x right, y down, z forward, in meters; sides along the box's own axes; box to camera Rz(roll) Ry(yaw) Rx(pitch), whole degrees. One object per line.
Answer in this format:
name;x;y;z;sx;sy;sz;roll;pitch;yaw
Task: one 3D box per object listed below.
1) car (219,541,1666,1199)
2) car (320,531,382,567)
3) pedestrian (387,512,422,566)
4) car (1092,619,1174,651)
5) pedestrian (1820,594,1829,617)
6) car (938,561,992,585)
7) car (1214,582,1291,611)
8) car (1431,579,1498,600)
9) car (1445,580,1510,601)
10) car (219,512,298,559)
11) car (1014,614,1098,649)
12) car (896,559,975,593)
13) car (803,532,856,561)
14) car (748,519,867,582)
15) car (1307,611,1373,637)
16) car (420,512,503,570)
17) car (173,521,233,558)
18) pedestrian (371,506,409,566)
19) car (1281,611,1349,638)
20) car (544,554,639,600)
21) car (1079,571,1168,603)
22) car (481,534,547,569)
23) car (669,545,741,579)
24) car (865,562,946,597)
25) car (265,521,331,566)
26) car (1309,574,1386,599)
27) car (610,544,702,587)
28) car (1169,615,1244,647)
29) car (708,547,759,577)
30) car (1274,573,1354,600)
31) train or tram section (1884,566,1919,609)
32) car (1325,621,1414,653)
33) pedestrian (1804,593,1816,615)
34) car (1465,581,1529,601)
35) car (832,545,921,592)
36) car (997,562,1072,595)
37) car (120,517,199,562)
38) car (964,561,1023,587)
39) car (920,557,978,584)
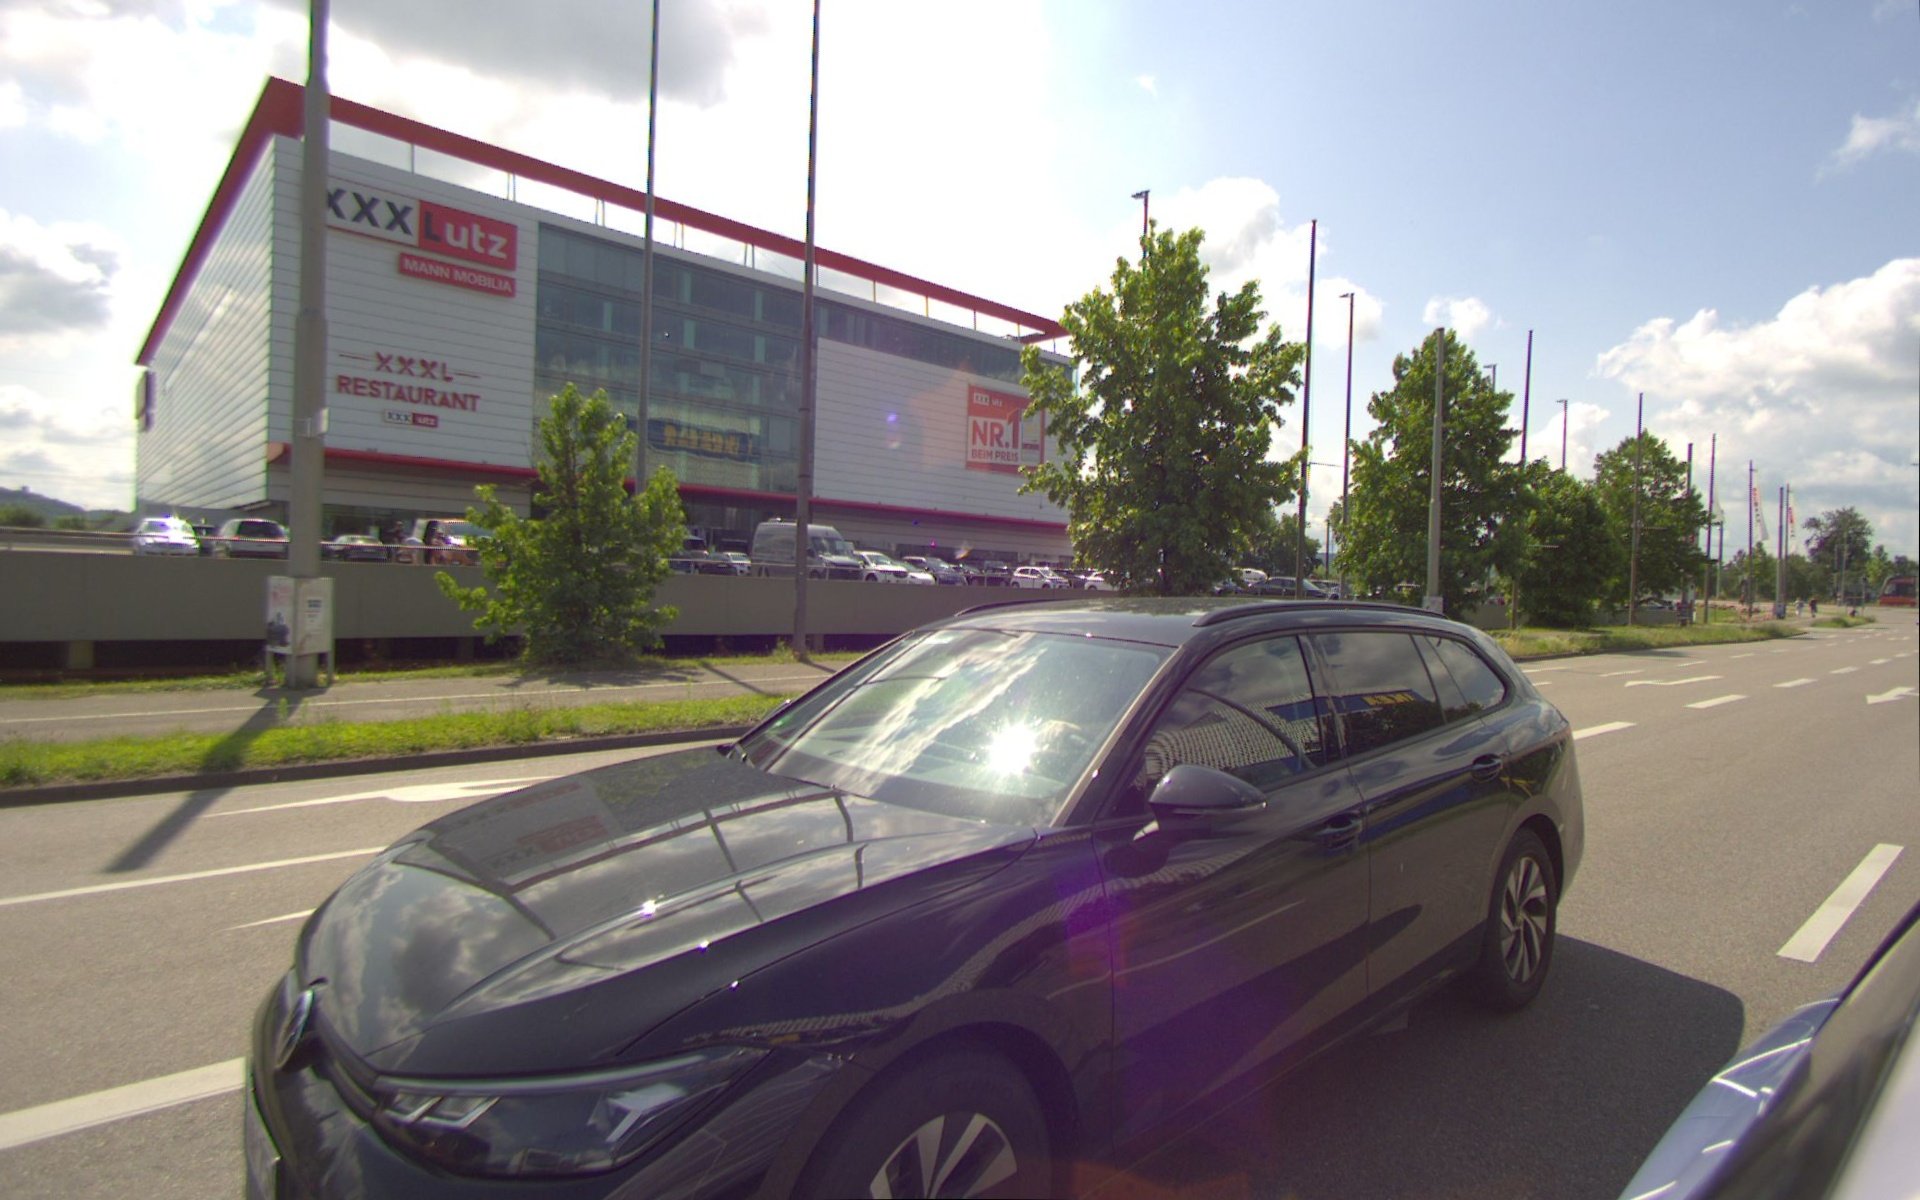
car;0.662;0.666;3.532;5.114;1.496;1.811;0;1;-42
car;-27.942;-2.304;46.372;1.534;1.489;4.412;0;1;-44
pedestrian;-18.924;-2.070;34.483;1.014;1.764;0.698;0;0;36
car;9.950;1.975;58.503;1.922;1.625;4.414;0;1;-43
pedestrian;69.864;0.415;81.786;0.524;1.836;0.668;0;0;39
car;0.334;-1.932;73.382;1.916;1.625;4.428;0;1;-30
car;16.836;-0.232;58.389;1.746;1.624;3.996;-1;0;-39
car;40.364;-0.826;80.969;1.921;1.625;4.416;0;1;-41
car;42.679;-0.793;83.502;1.921;1.625;4.416;0;1;-41
car;-27.883;-2.505;40.146;1.922;1.625;4.412;0;1;-44
car;4.997;1.617;53.306;1.919;1.625;4.420;0;1;-38
car;-1.285;-1.181;50.572;1.917;1.625;4.425;0;1;-33
car;-8.173;-3.314;63.245;1.915;1.625;4.430;0;1;-27
car;-6.208;-1.913;40.620;1.721;2.312;5.784;0;0;-44
car;28.338;1.754;75.655;1.534;1.786;4.412;0;0;-44
car;-17.163;-1.959;34.757;1.881;1.772;4.187;0;0;-36
car;-38.143;-2.999;50.978;1.922;1.625;4.412;0;1;-44
pedestrian;-19.696;-2.198;34.968;0.895;2.039;0.706;0;0;4
car;25.580;1.753;72.971;1.534;1.786;4.412;0;0;-44
car;-14.043;-0.861;38.387;1.921;1.625;4.416;0;1;-41
car;8.482;-0.680;52.811;1.921;1.625;4.416;0;1;-41
car;-22.452;-2.395;50.882;1.920;1.625;4.418;0;1;-40
car;-13.235;-1.928;52.318;1.920;1.625;4.418;0;1;-40
car;-2.635;-0.965;48.383;1.917;1.625;4.425;0;1;-33
car;-29.094;-2.450;44.454;1.883;1.772;3.993;-1;0;-41
car;25.686;-0.916;67.121;1.921;1.625;4.416;0;1;-41
car;-12.151;-1.334;40.279;1.920;1.625;4.418;0;1;-40
car;15.352;1.905;63.208;1.534;1.786;4.412;0;0;-44
car;-13.367;-2.195;59.590;1.915;1.625;4.430;0;1;-27
car;22.302;-0.865;63.832;1.921;1.625;4.416;0;1;-41
train or tram section;106.916;-1.367;107.265;3.669;4.618;13.078;0;0;-43
car;23.657;2.125;58.542;1.921;1.625;4.416;0;1;-41
pedestrian;69.167;0.312;82.364;0.699;1.836;0.539;0;0;34
car;45.925;-0.768;86.618;1.921;1.625;4.416;0;1;-41
car;-3.493;-1.268;41.911;1.718;1.816;3.995;0;0;-40
car;4.219;-1.195;57.684;1.534;1.786;4.412;0;0;-44
car;-29.907;-2.210;37.759;1.922;1.489;4.412;0;1;-44
car;2.212;-1.727;67.659;1.916;1.625;4.428;0;1;-30
car;-0.735;-1.835;64.194;1.915;1.625;4.430;0;1;-27
